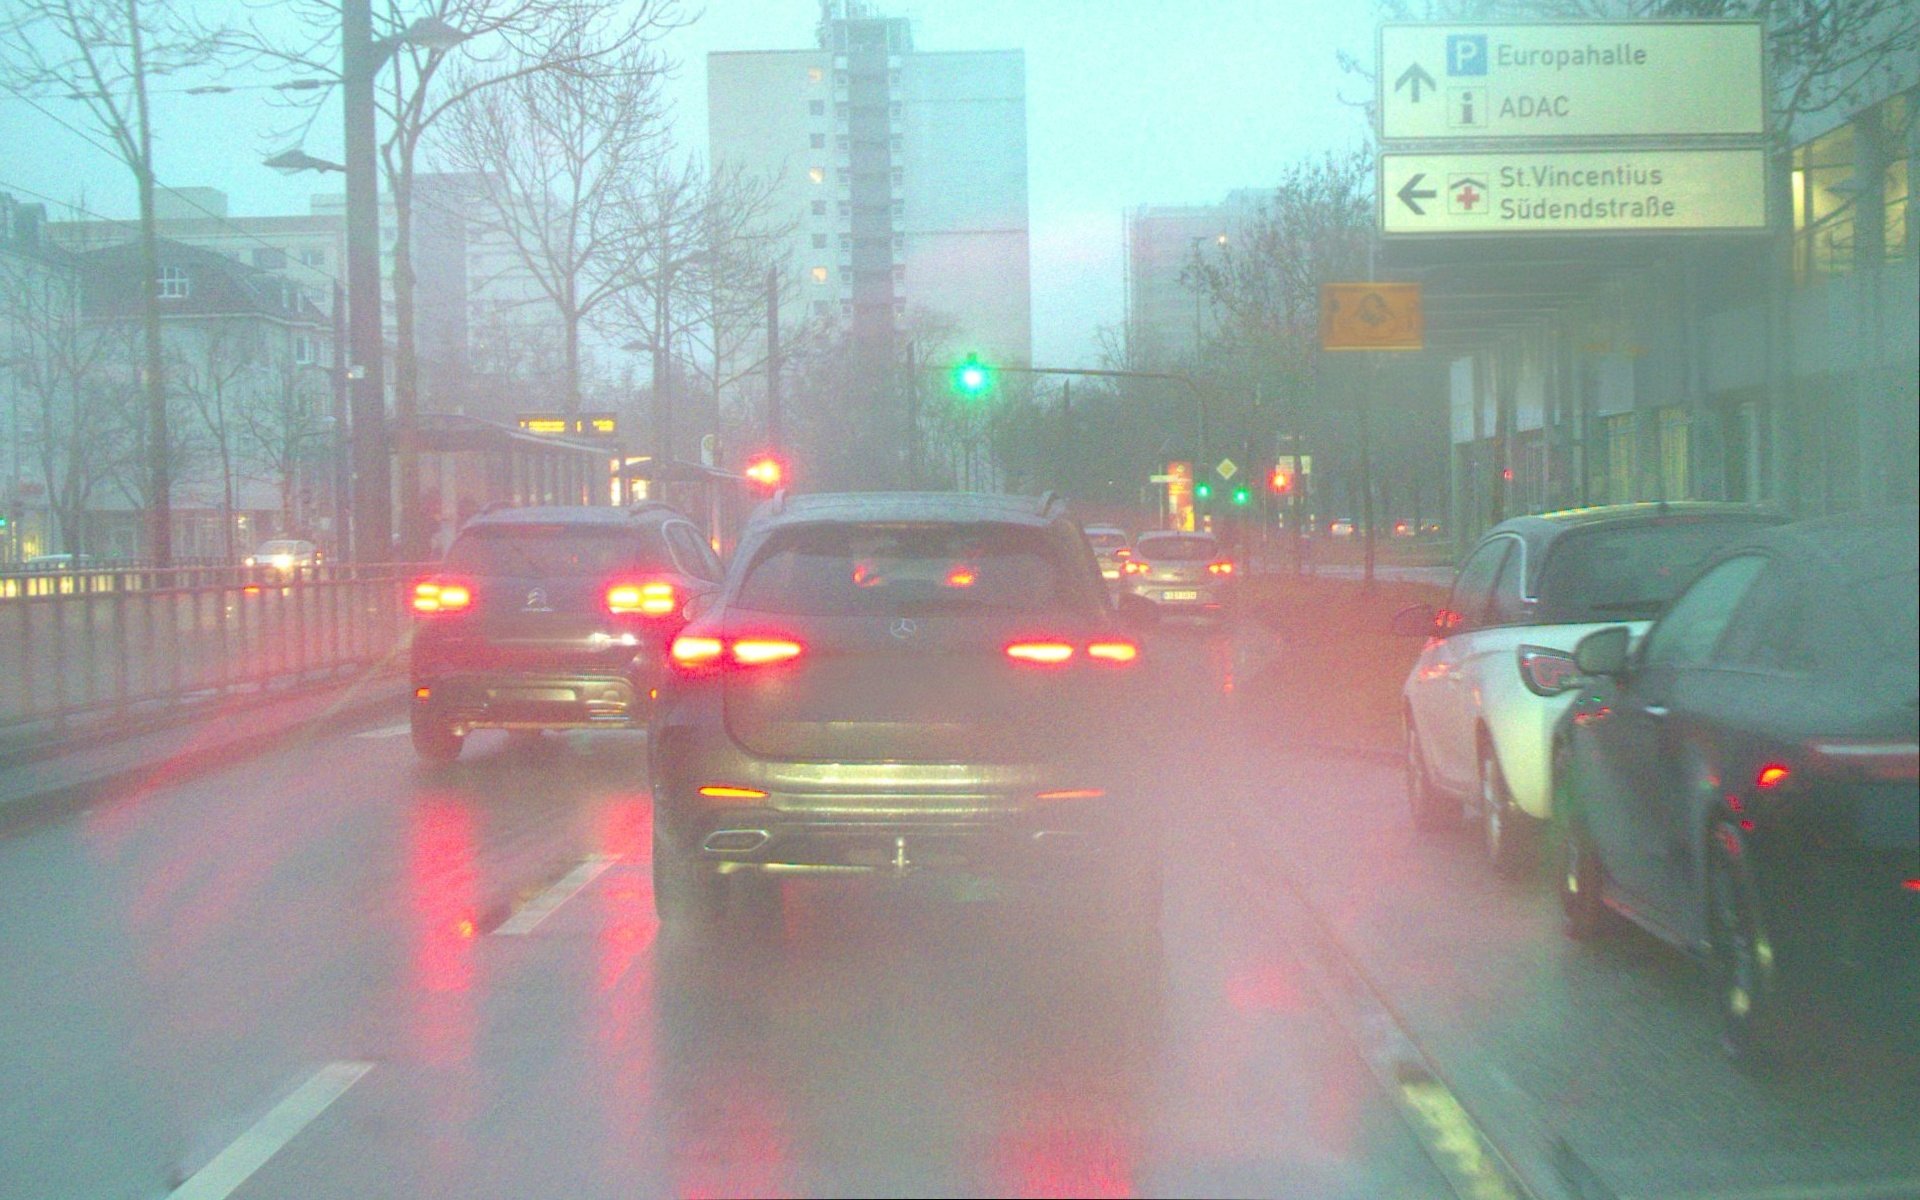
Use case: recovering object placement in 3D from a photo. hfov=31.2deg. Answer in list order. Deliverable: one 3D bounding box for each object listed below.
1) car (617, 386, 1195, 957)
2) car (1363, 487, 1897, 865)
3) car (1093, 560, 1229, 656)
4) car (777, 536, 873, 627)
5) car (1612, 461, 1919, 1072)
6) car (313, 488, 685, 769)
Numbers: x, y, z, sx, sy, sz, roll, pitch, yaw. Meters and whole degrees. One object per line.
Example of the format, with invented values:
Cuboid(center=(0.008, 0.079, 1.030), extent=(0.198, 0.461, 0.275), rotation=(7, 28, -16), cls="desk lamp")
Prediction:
Cuboid(center=(-0.269, 0.246, 13.983), extent=(1.993, 1.969, 4.068), rotation=(0, 0, -2), cls="car")
Cuboid(center=(2.787, 0.246, 14.991), extent=(1.591, 1.389, 3.487), rotation=(-2, 2, 0), cls="car")
Cuboid(center=(3.056, 0.093, 52.974), extent=(1.887, 1.349, 4.102), rotation=(0, 2, 0), cls="car")
Cuboid(center=(-3.071, -0.451, 79.138), extent=(1.952, 2.026, 4.883), rotation=(0, 1, 1), cls="car")
Cuboid(center=(3.059, 0.332, 9.937), extent=(1.754, 1.398, 4.250), rotation=(0, 2, 3), cls="car")
Cuboid(center=(-2.998, 0.167, 23.228), extent=(1.993, 1.706, 4.325), rotation=(0, 0, -1), cls="car")
